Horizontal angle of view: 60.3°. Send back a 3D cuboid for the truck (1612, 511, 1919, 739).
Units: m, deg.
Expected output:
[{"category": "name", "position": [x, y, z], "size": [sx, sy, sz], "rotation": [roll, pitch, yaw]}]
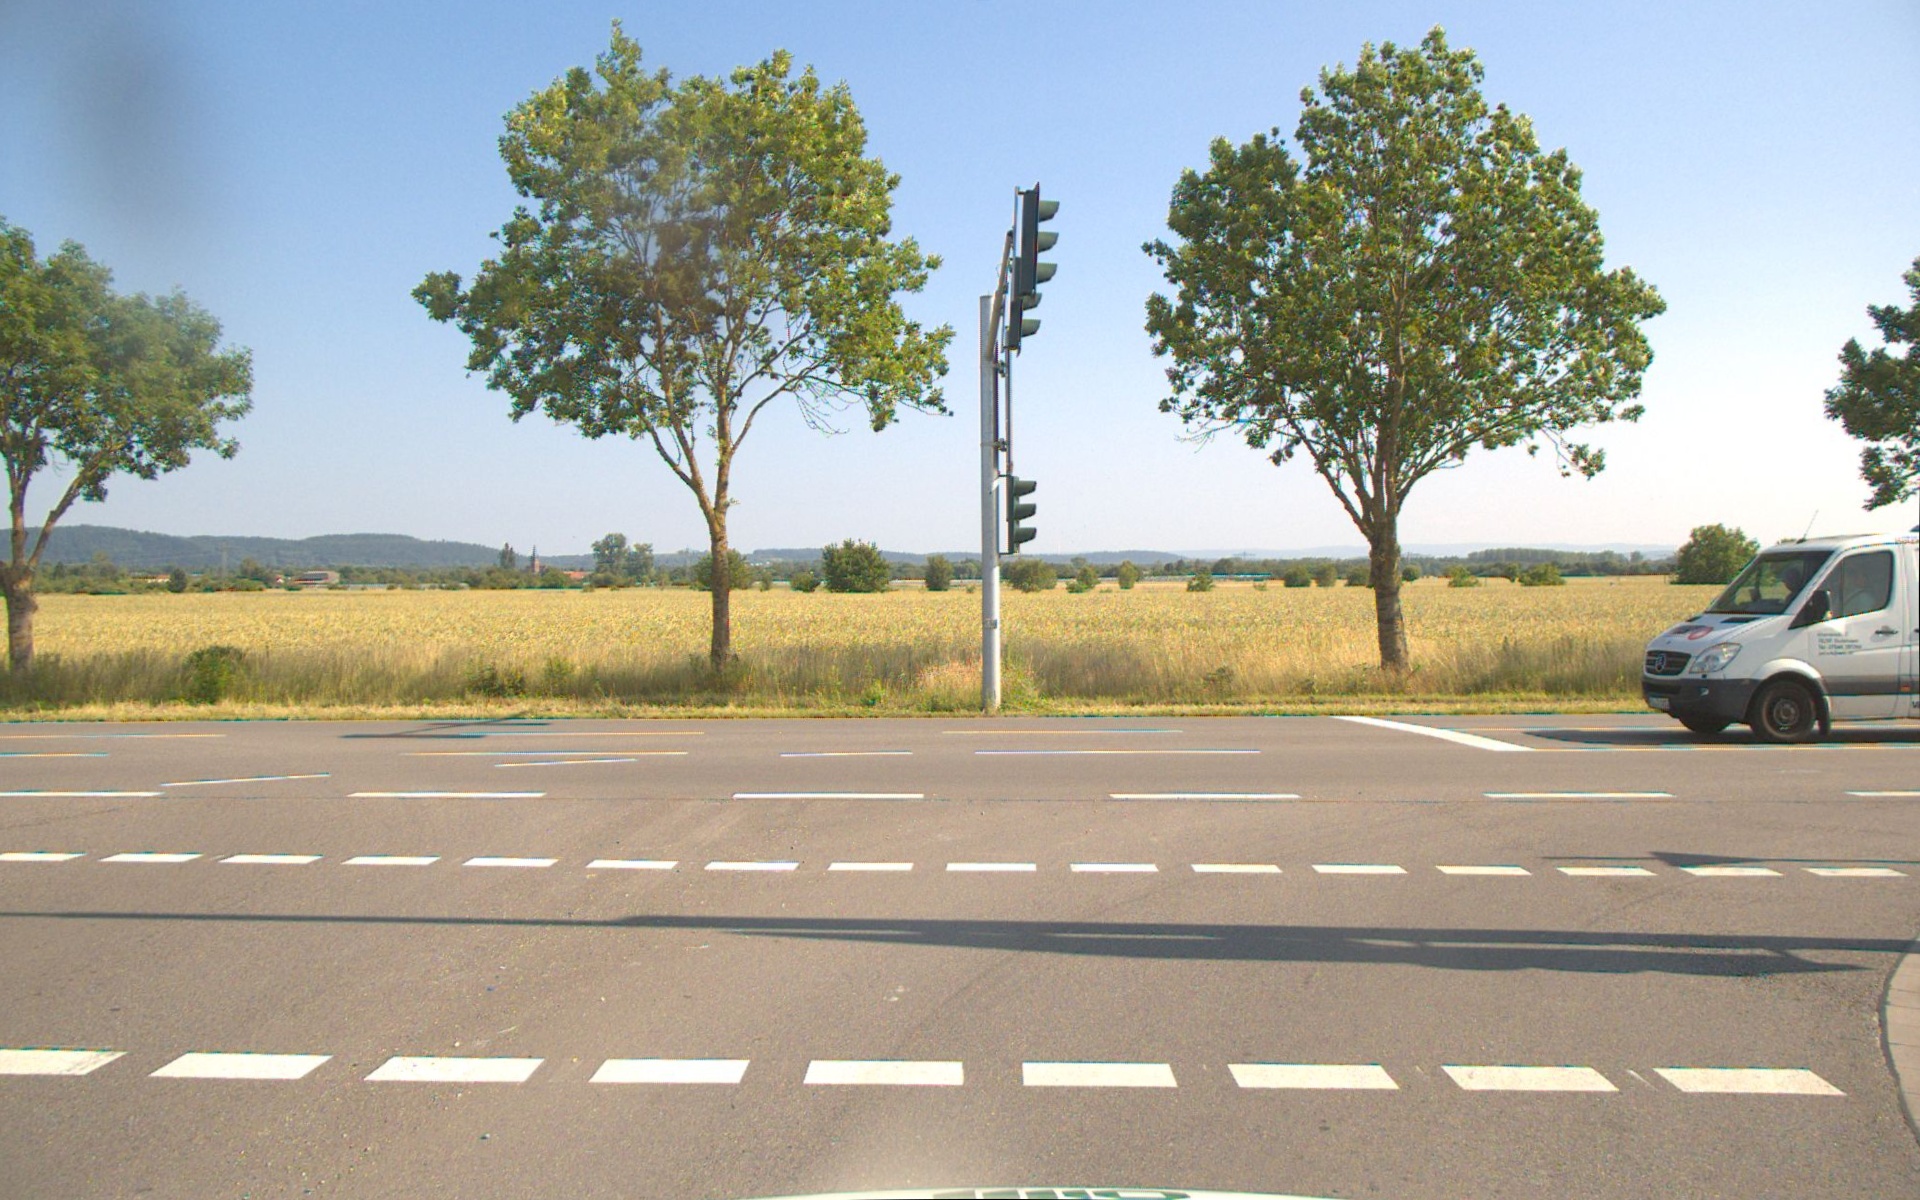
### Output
[{"category": "truck", "position": [10.906, 0.266, 18.964], "size": [6.053, 2.447, 2.070], "rotation": [0, -1, -2]}]
